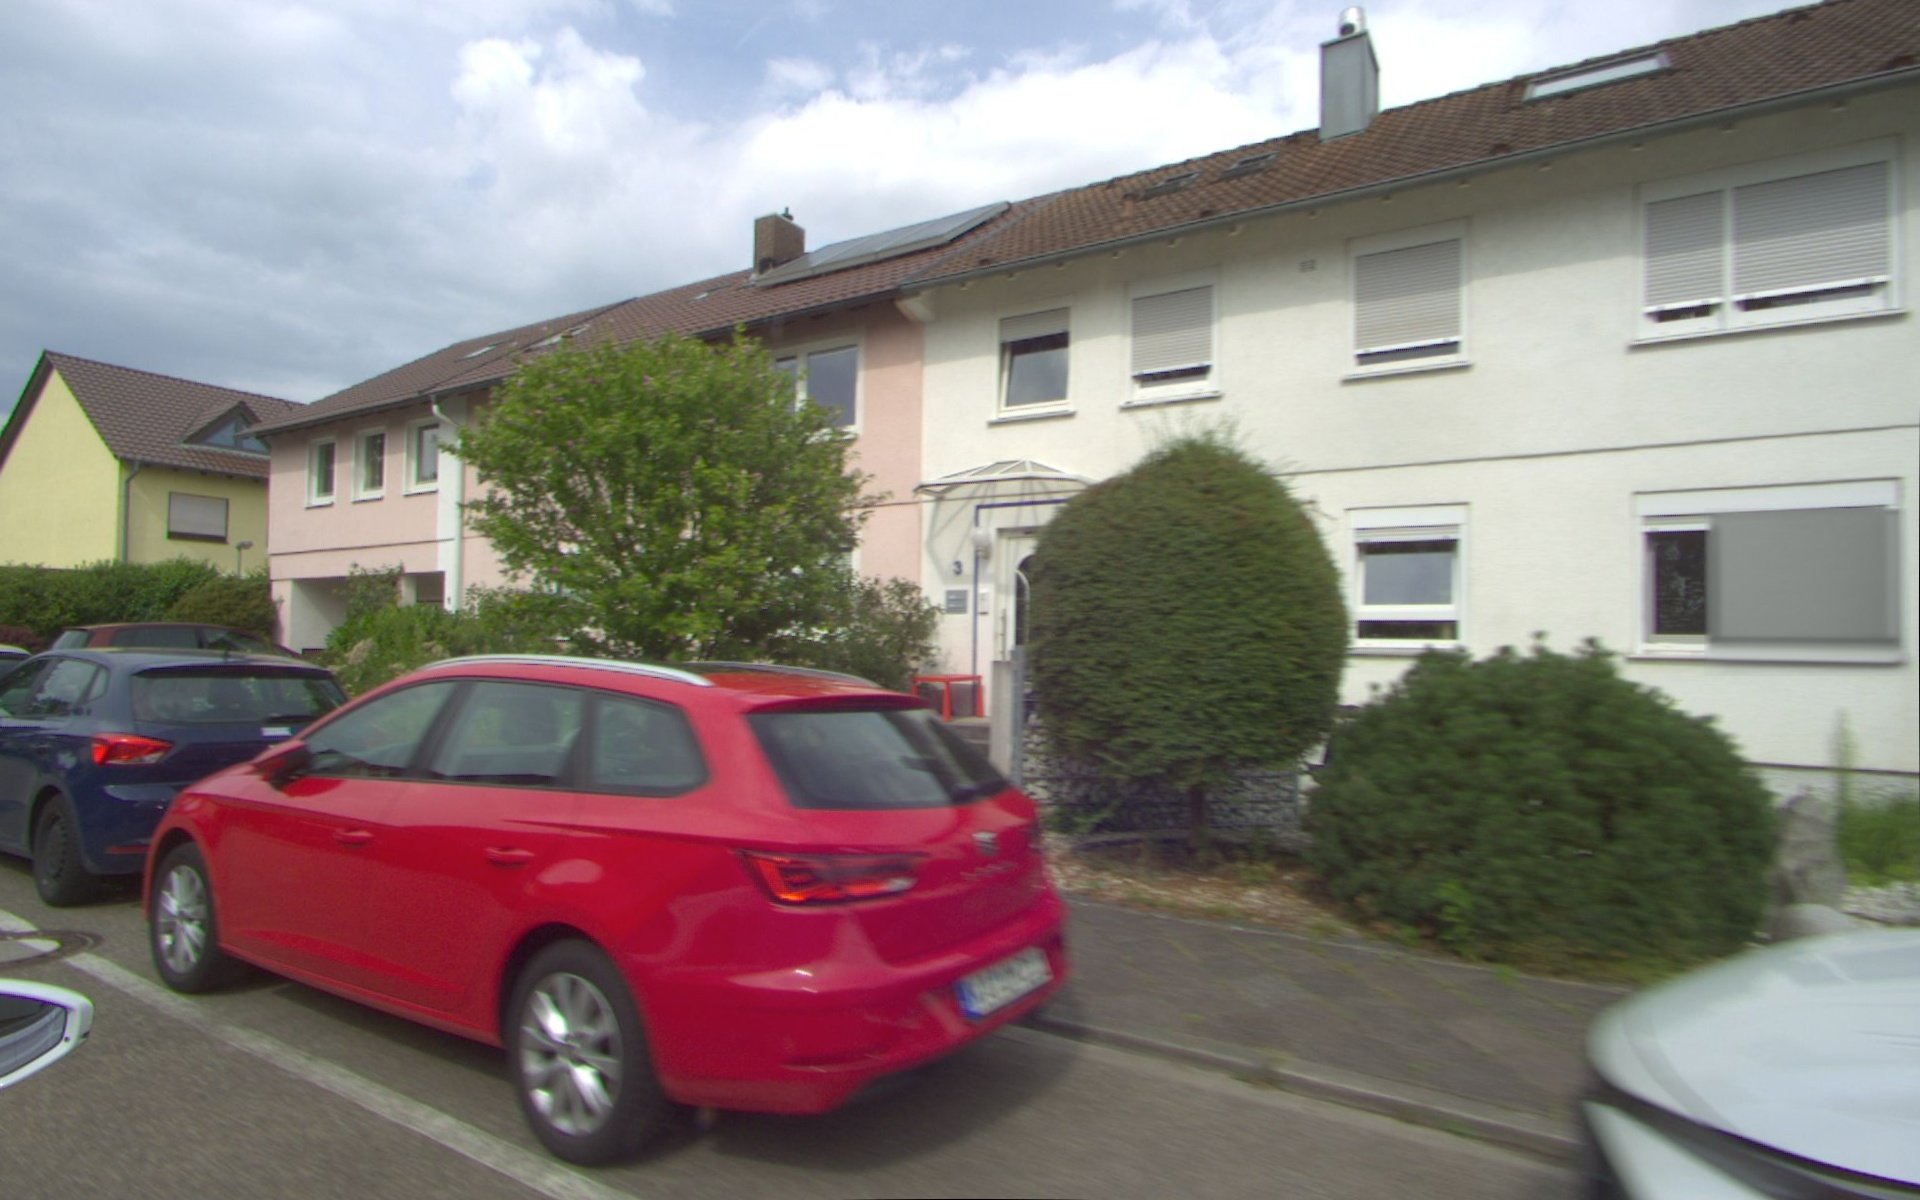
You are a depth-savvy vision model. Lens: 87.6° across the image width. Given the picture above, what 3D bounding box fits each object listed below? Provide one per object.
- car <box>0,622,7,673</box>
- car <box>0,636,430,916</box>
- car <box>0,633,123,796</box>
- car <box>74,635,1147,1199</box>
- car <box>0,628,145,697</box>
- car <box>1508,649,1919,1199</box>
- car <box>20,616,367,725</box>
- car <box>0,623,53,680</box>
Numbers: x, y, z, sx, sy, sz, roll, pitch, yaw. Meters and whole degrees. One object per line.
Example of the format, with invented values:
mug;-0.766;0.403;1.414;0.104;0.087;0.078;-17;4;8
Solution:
car;-30.912;1.394;29.350;1.811;1.559;3.954;0;-2;29
car;-5.730;0.965;6.980;4.205;1.373;1.770;-1;-2;33
car;-10.327;1.025;9.851;4.189;1.434;1.863;0;-3;30
car;-1.774;0.932;4.320;4.757;1.453;1.772;-1;-5;33
car;-21.026;1.355;21.987;1.997;1.451;4.446;0;-2;30
car;3.219;0.814;1.123;4.567;1.431;1.837;0;-2;30
car;-12.703;1.101;16.883;1.907;1.580;4.263;-1;-2;32
car;-26.980;1.348;26.487;1.921;1.542;4.043;0;-2;29
